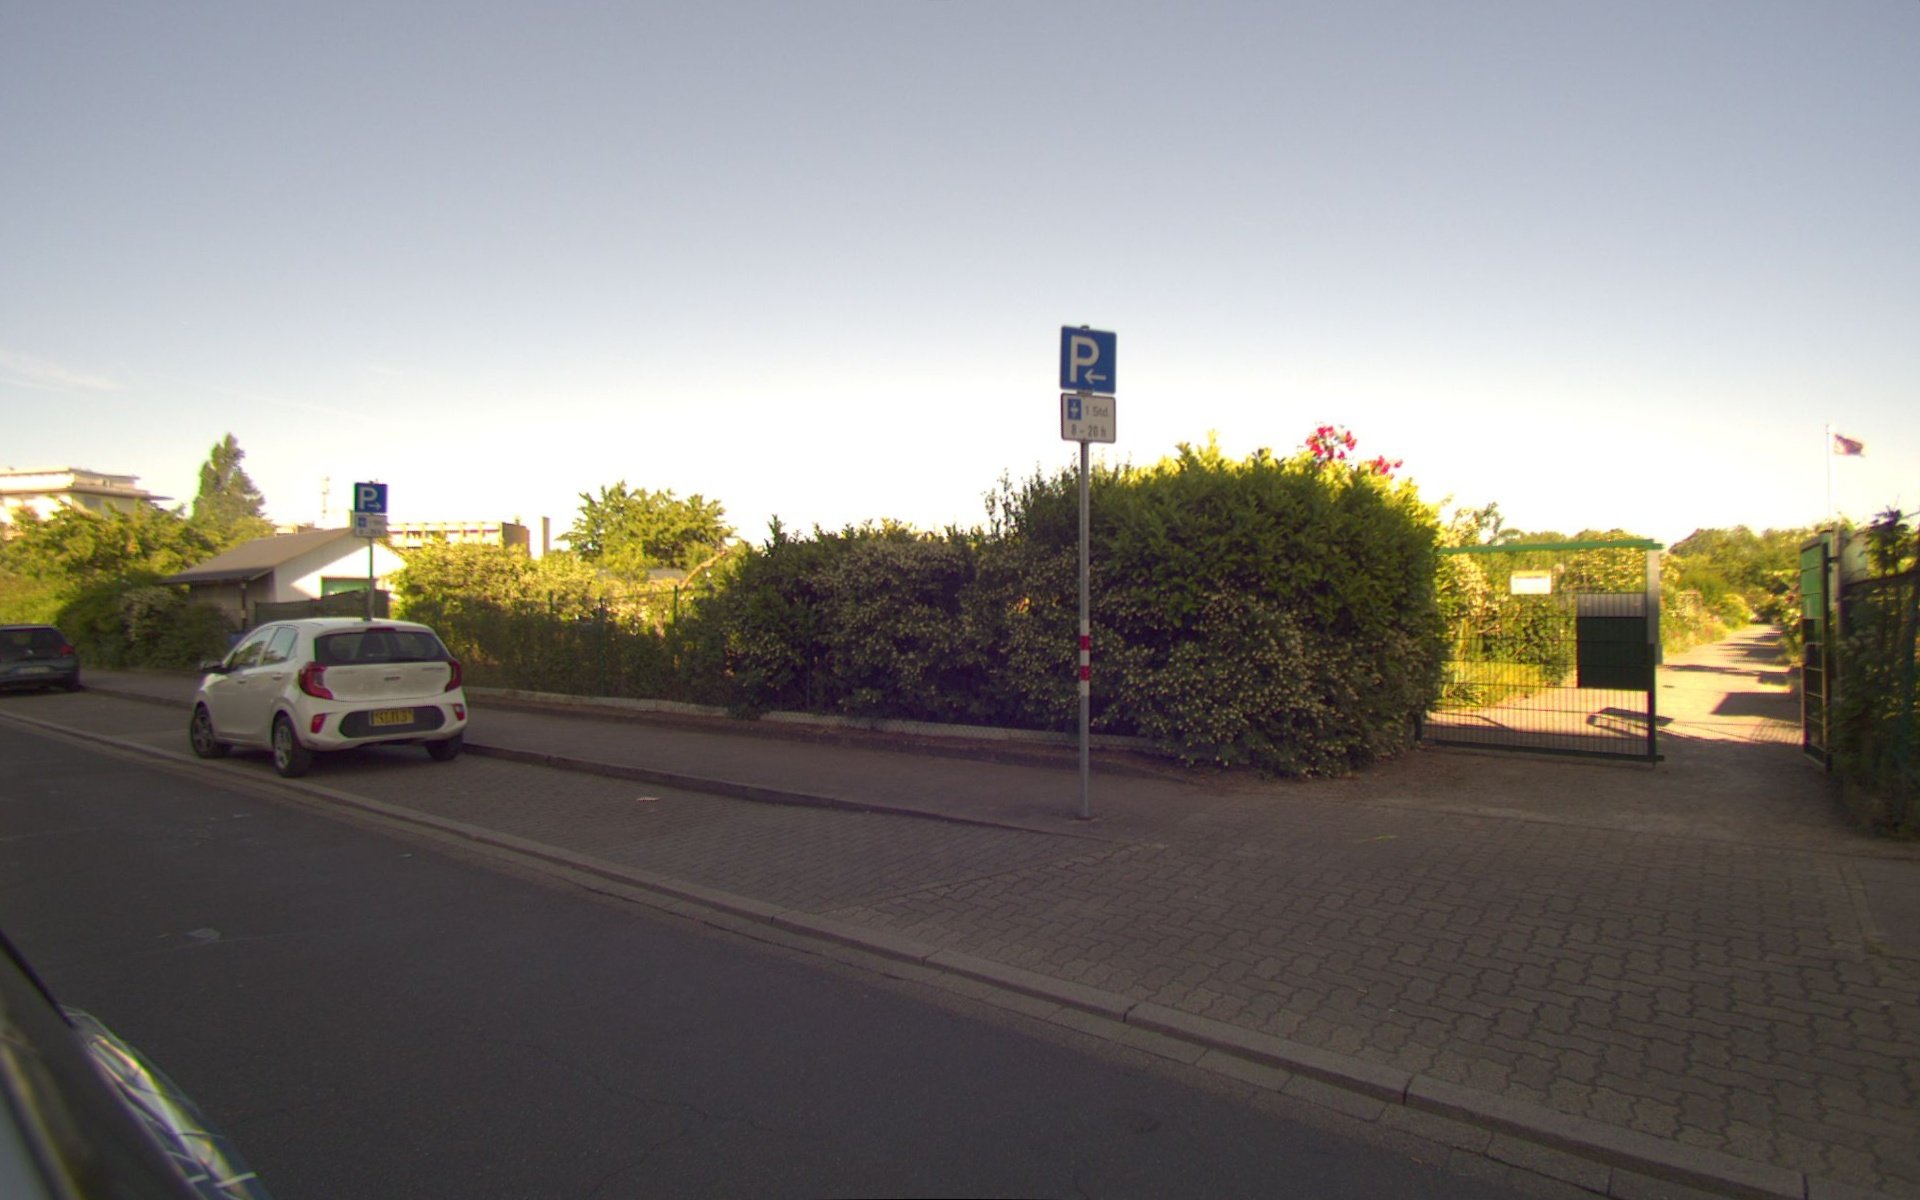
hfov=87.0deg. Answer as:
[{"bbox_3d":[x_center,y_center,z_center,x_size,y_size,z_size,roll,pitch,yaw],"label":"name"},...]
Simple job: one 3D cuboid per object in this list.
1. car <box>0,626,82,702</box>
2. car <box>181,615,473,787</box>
[{"bbox_3d":[-20.449,1.314,21.623,4.510,1.434,1.680,-1,1,38],"label":"car"},{"bbox_3d":[-6.669,0.926,10.554,3.396,1.499,1.513,-1,-1,38],"label":"car"}]
